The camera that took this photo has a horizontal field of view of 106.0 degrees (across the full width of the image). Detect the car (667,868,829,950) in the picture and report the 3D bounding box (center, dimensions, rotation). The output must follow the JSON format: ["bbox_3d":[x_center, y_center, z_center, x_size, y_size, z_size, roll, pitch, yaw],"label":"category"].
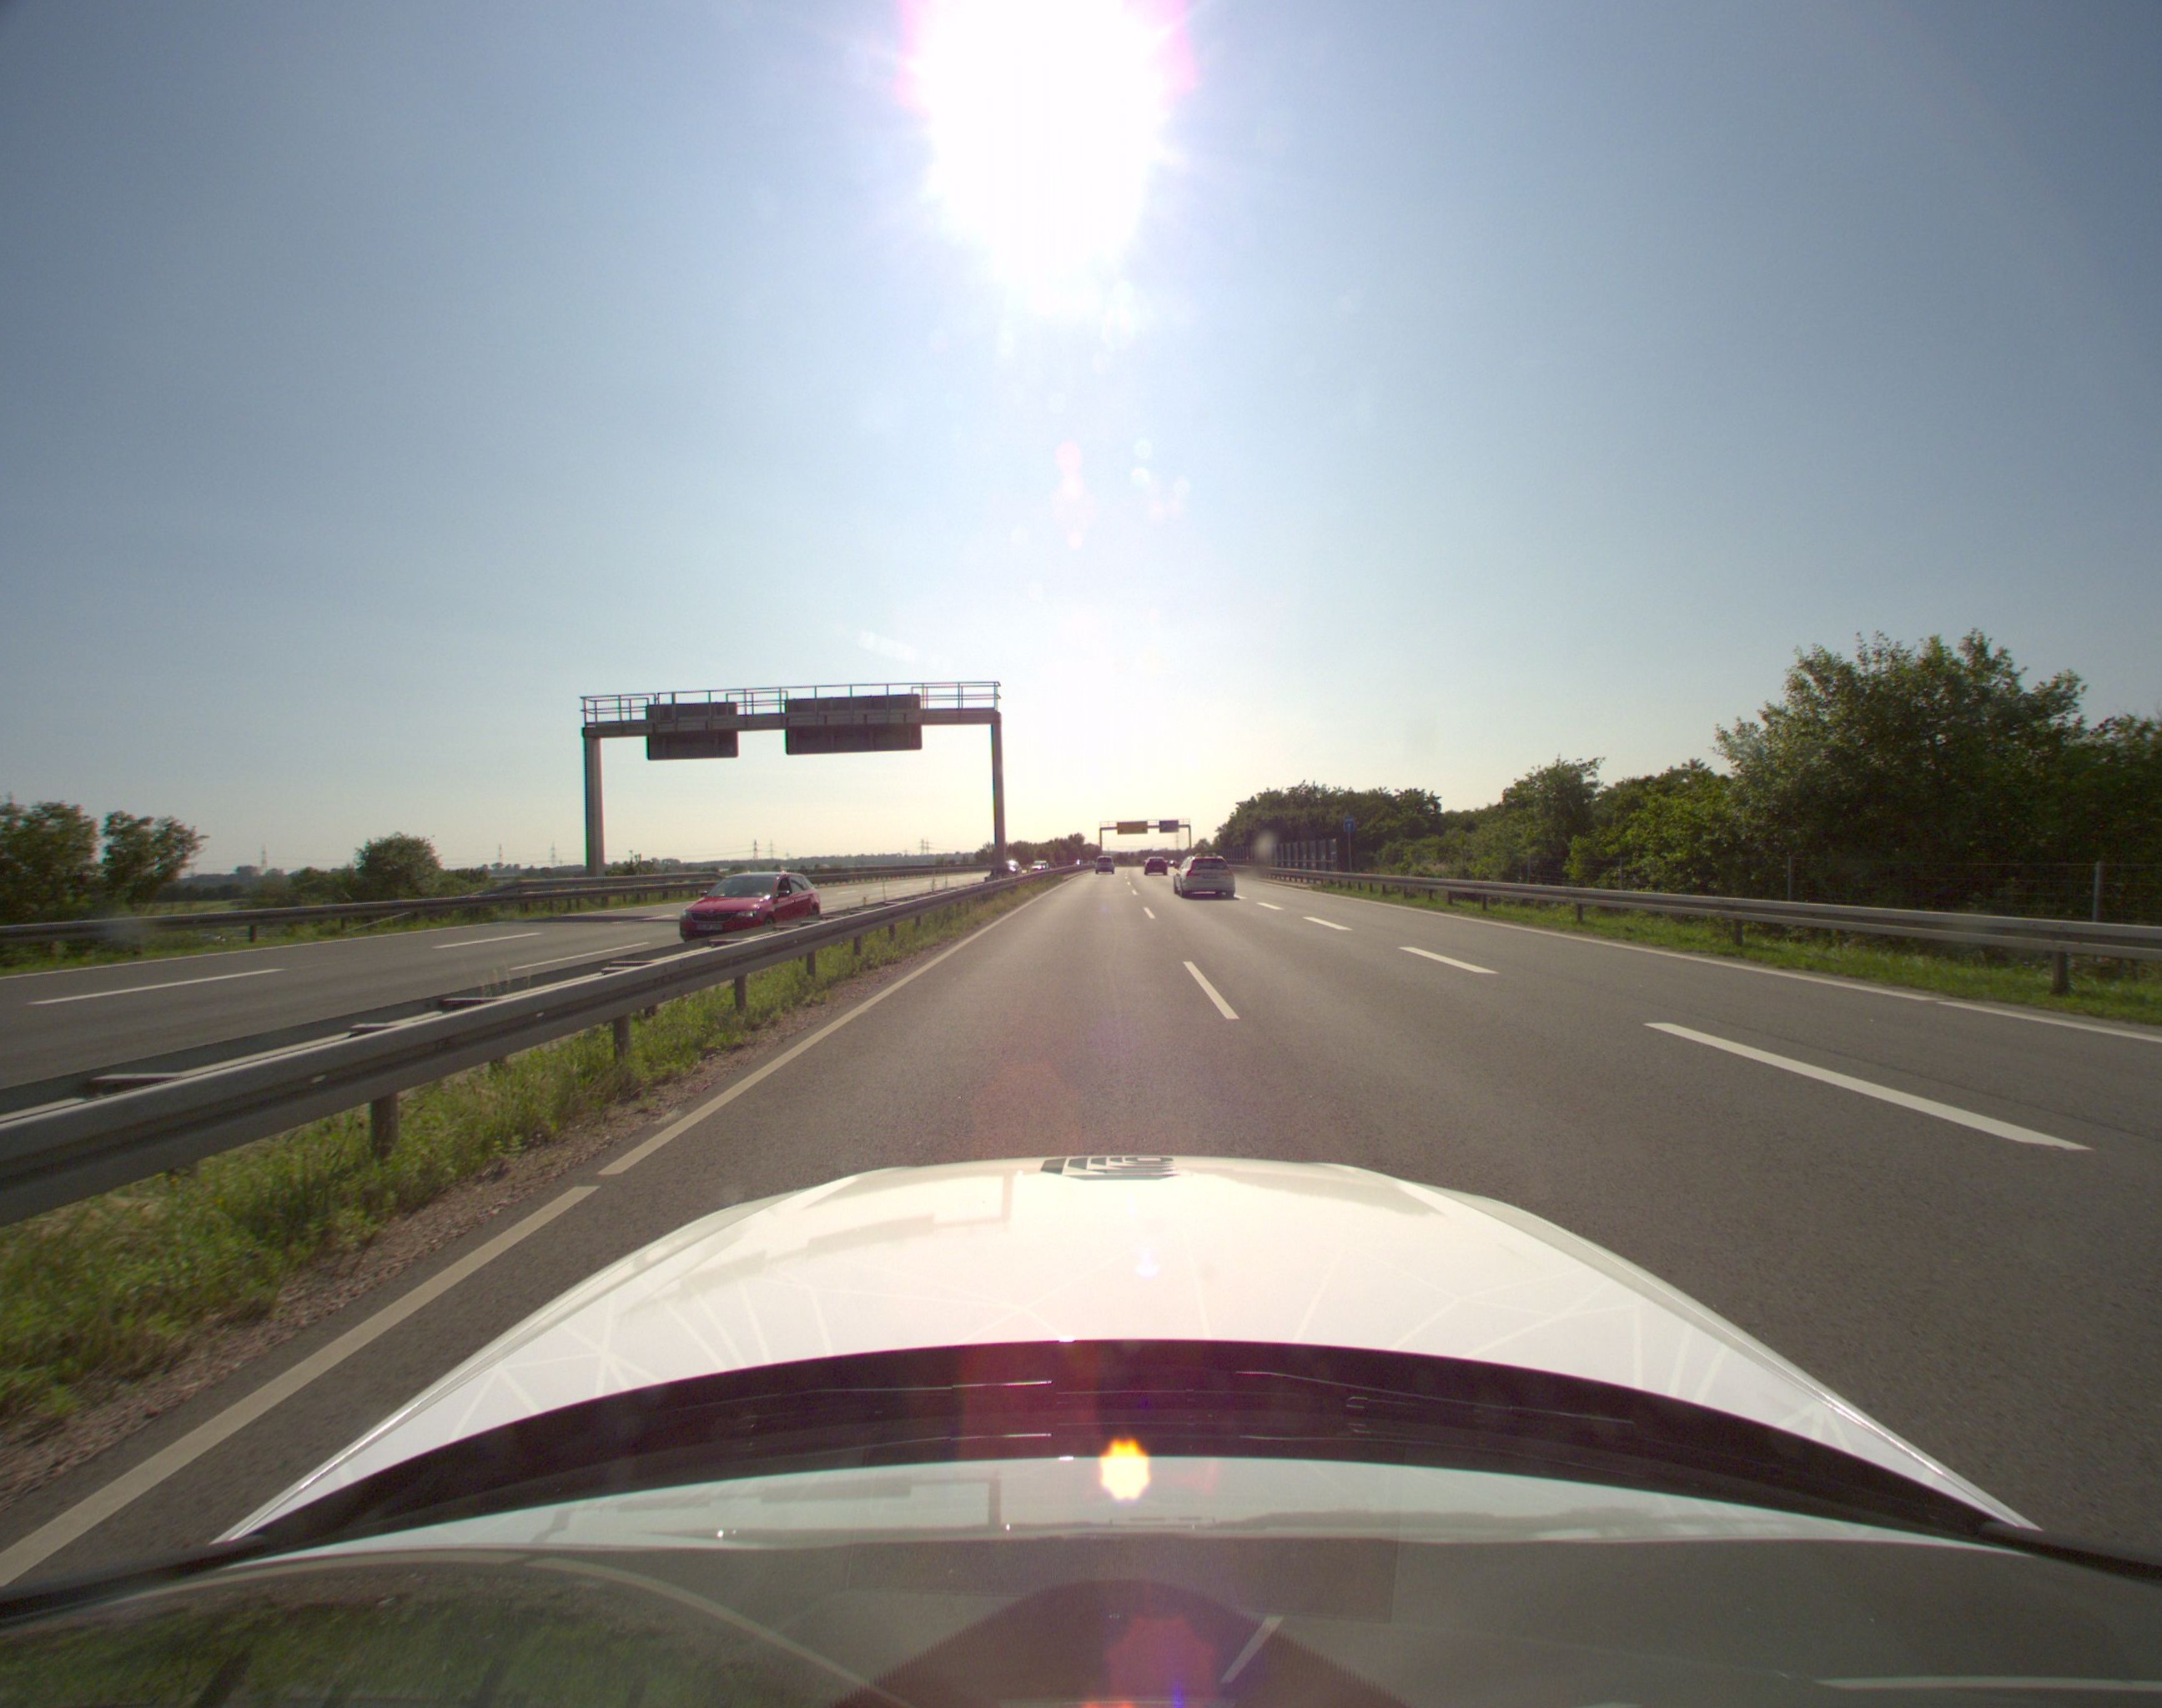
[{"bbox_3d":[-7.034,1.087,17.716,1.704,1.486,4.266,0,0,1],"label":"car"}]

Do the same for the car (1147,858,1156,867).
[{"bbox_3d":[15.613,1.871,179.428,1.984,2.013,4.006,0,0,5],"label":"car"}]

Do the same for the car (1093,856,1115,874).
[{"bbox_3d":[2.084,0.978,71.838,1.785,1.503,4.046,-2,-1,3],"label":"car"}]

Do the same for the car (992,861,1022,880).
[{"bbox_3d":[-5.899,1.280,65.254,1.787,1.473,4.004,0,0,3],"label":"car"}]

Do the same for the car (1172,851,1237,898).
[{"bbox_3d":[4.421,0.703,29.688,1.950,1.601,4.110,0,0,3],"label":"car"}]

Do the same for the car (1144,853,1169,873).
[{"bbox_3d":[5.960,0.745,64.748,1.786,1.543,3.673,-1,-1,2],"label":"car"}]

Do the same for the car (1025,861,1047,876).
[{"bbox_3d":[-4.594,1.435,83.415,1.866,1.438,4.504,0,0,2],"label":"car"}]
